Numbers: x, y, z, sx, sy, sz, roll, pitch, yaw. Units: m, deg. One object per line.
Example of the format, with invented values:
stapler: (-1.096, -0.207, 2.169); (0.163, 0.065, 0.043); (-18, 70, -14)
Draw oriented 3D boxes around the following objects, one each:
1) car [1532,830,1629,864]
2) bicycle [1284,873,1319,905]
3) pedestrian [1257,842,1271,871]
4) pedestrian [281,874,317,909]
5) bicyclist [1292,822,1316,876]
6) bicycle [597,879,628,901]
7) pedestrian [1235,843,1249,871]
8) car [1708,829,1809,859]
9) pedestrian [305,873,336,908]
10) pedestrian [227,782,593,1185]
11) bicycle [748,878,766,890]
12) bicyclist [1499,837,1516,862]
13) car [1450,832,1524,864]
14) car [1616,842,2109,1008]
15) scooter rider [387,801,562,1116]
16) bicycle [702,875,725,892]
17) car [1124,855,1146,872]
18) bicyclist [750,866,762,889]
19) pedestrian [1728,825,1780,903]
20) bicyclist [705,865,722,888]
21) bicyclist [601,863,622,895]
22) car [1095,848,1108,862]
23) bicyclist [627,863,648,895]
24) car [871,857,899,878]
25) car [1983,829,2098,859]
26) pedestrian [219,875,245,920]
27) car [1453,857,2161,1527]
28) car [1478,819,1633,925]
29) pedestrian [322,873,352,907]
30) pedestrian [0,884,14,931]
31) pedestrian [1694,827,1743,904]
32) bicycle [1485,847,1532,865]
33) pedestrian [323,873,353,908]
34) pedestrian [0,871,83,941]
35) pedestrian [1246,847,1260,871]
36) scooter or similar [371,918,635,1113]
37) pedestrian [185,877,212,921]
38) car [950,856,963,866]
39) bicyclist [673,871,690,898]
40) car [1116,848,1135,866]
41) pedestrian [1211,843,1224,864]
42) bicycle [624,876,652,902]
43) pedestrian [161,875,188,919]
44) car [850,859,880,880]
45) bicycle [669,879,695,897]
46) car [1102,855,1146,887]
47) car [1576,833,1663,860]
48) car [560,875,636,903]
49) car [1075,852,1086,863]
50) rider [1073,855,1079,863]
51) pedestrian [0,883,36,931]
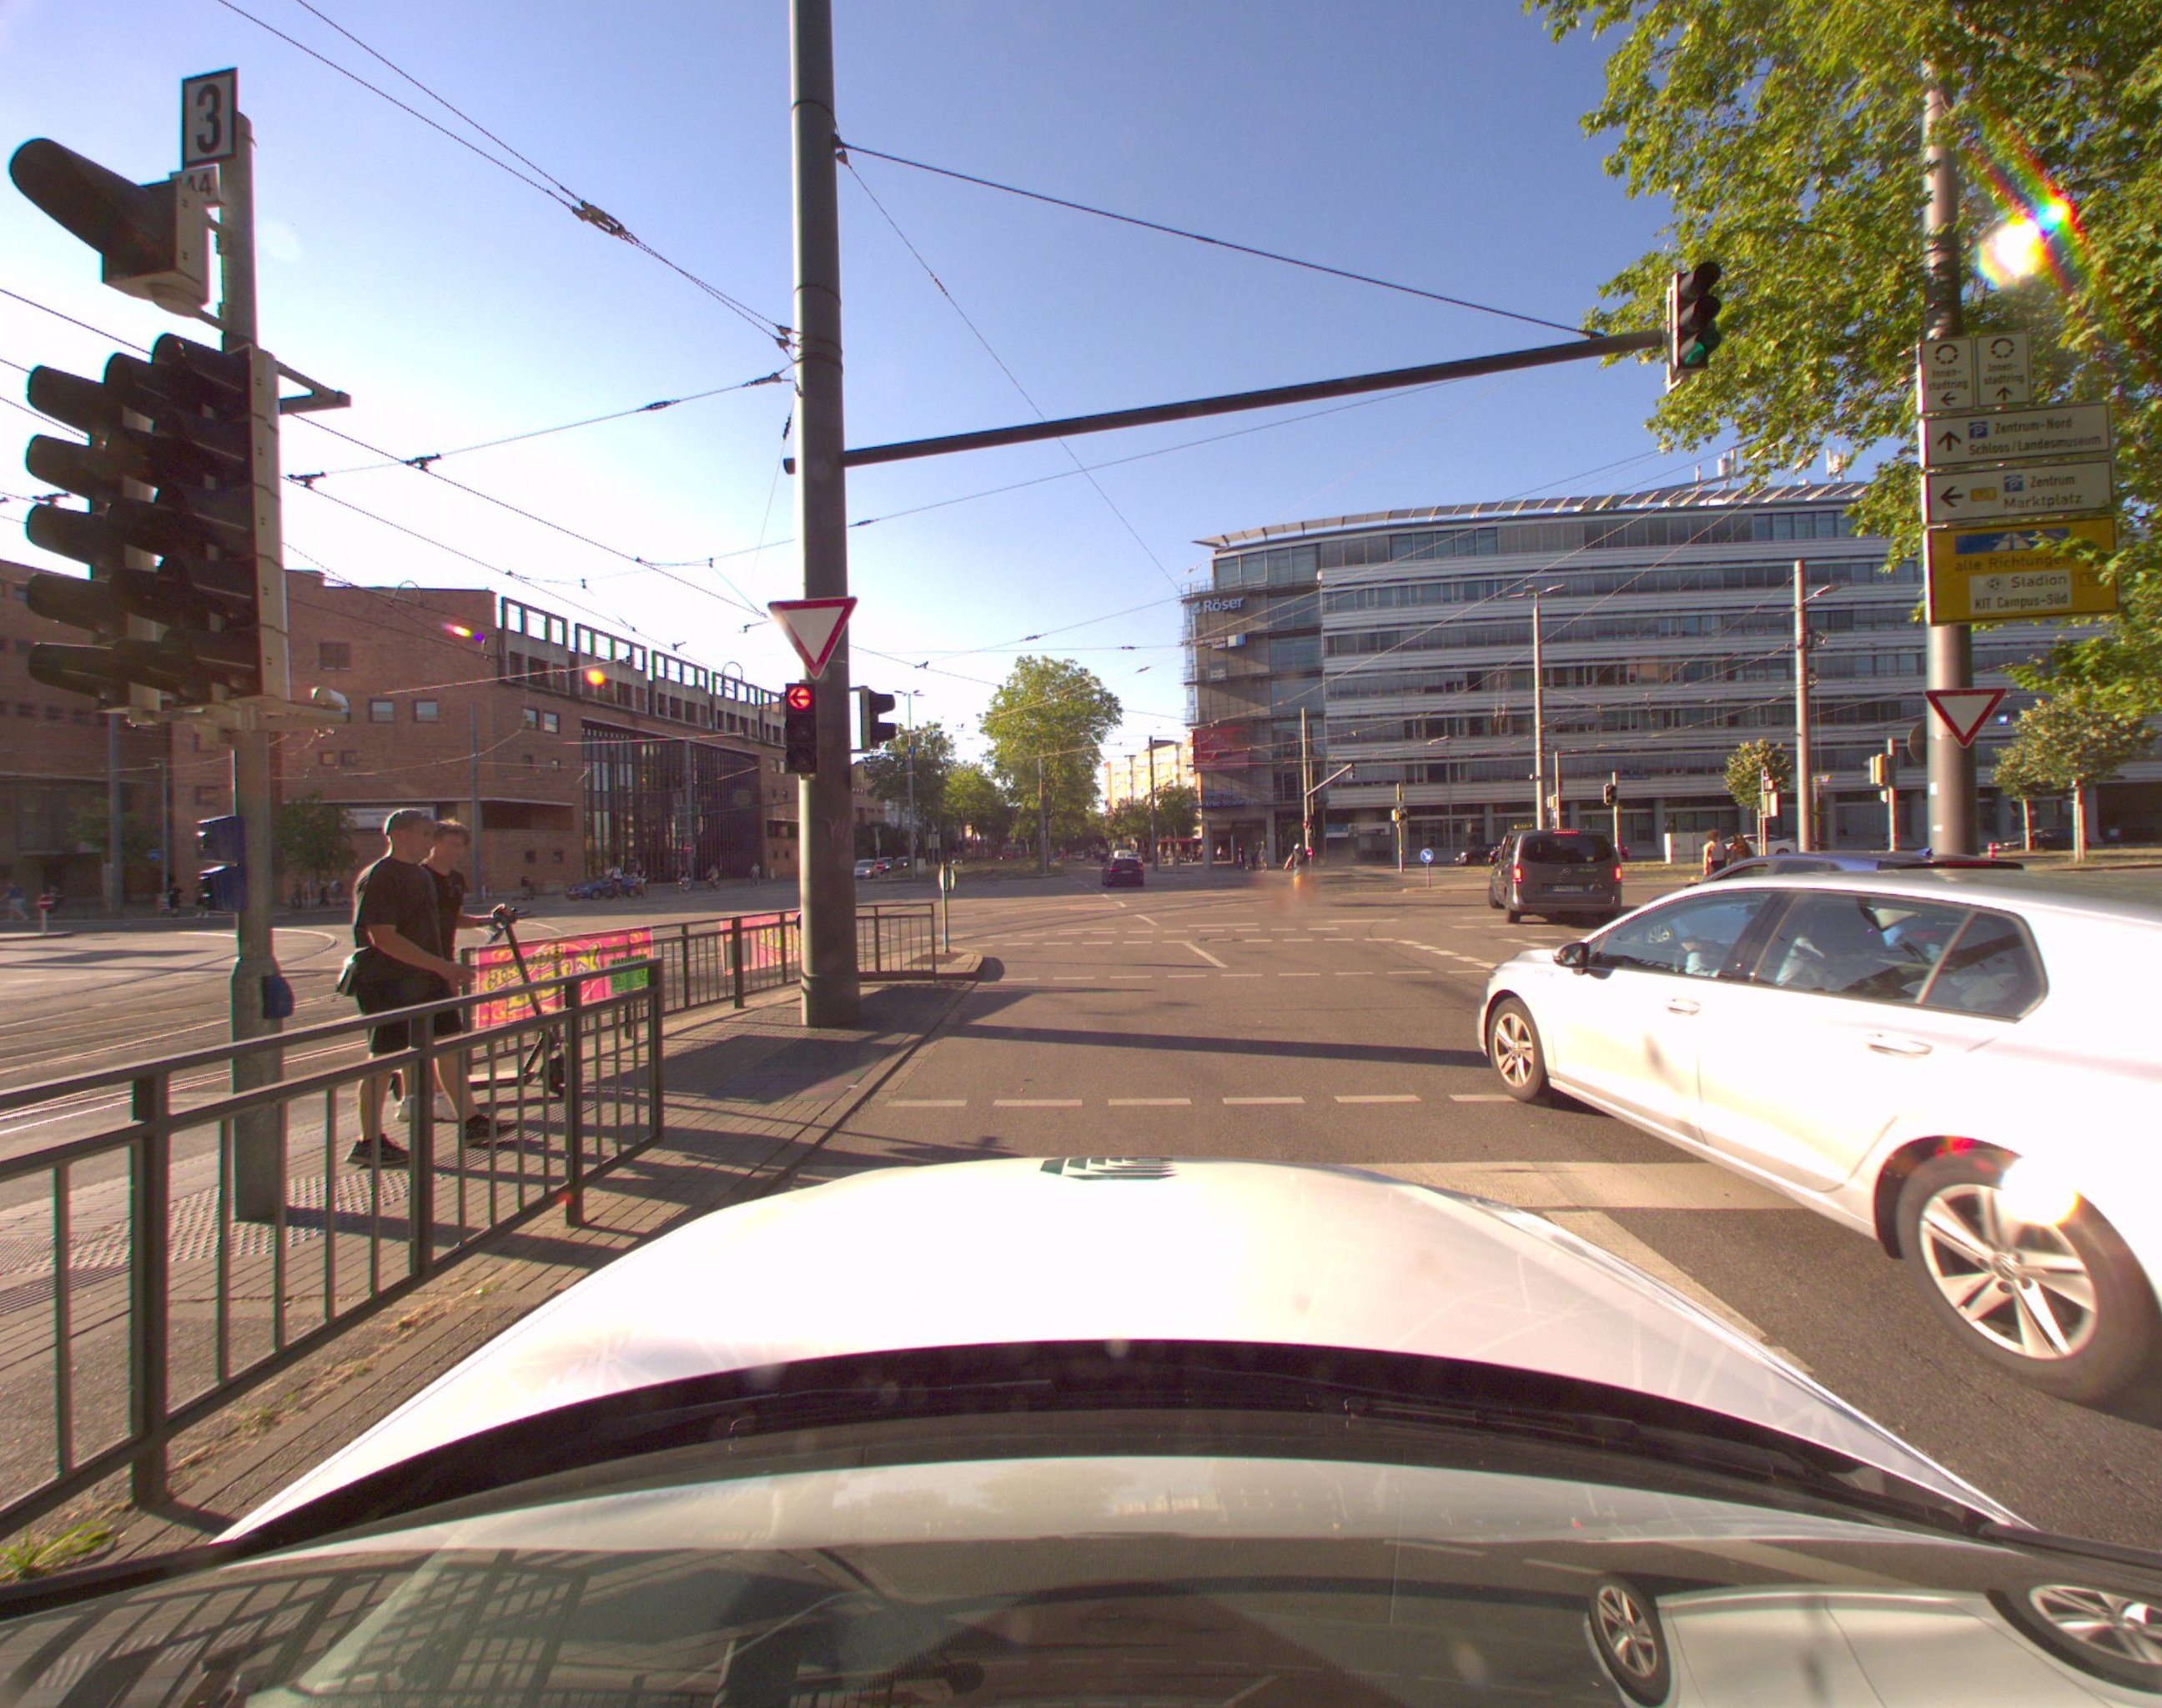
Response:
car: (27.932, -0.380, 45.634); (4.234, 1.723, 1.886); (-2, 0, 4)
bicycle: (5.920, 0.923, 21.923); (0.489, 0.788, 1.862); (-1, 0, 2)
pedestrian: (13.140, 0.192, 58.542); (0.866, 2.014, 0.794); (0, -1, 3)
pedestrian: (-46.187, 2.210, 48.089); (1.155, 2.013, 0.910); (-2, 0, -2)
bicyclist: (5.930, -0.134, 21.707); (0.485, 1.439, 0.616); (0, 0, 1)
bicycle: (-23.813, 1.822, 41.430); (0.652, 0.998, 1.896); (-2, 0, -8)
pedestrian: (11.867, 0.239, 60.110); (0.846, 2.014, 0.708); (0, -1, 1)
car: (37.602, -0.550, 45.259); (3.968, 1.596, 1.884); (0, -1, 5)
pedestrian: (-46.460, 2.215, 49.776); (1.003, 2.052, 0.850); (-2, 0, -1)
pedestrian: (-3.452, 0.624, 4.288); (1.161, 1.884, 0.856); (-2, 0, 6)
bicycle: (-24.016, 2.214, 60.307); (0.588, 0.771, 1.966); (-2, 0, -2)
bicyclist: (25.681, -0.270, 49.028); (0.660, 1.503, 0.614); (-2, 0, 7)
car: (27.189, -0.388, 54.600); (3.972, 2.014, 2.001); (0, -1, 2)
car: (8.347, 0.632, 9.367); (1.741, 1.459, 4.215); (-1, 0, 2)
scooter rider: (-3.834, 0.630, 5.190); (0.563, 1.853, 0.681); (-2, -2, 6)
bicycle: (-24.083, 1.943, 53.347); (0.650, 1.050, 2.010); (-1, 0, -3)
car: (5.469, 0.955, 82.821); (2.022, 1.596, 4.001); (0, -1, 2)
bicyclist: (-24.033, 1.724, 60.220); (0.585, 1.625, 0.514); (-2, 0, -3)
pedestrian: (15.573, 0.230, 18.861); (0.677, 1.759, 0.746); (-2, 0, 22)
bicyclist: (-24.080, 1.438, 53.336); (0.652, 1.474, 1.031); (-1, -1, -3)
bicyclist: (-23.799, 1.268, 41.301); (0.660, 1.574, 0.756); (-2, 0, -8)
car: (3.247, 0.156, 126.825); (1.986, 2.014, 4.001); (0, -1, 2)
bicyclist: (-22.824, 1.262, 41.906); (0.683, 1.560, 0.755); (-2, 2, -13)
car: (-18.219, 1.227, 75.691); (1.819, 1.790, 3.994); (-2, 0, -4)
car: (54.434, -0.552, 46.253); (4.097, 1.596, 1.884); (0, -1, 5)
pedestrian: (-39.331, 1.994, 37.733); (0.615, 2.013, 0.726); (-2, 0, -29)
car: (3.347, 0.747, 3.645); (1.740, 1.418, 4.004); (-1, 0, 4)
car: (9.773, 0.313, 17.207); (1.984, 1.896, 4.907); (-1, 0, 20)
pedestrian: (-46.521, 2.224, 50.939); (1.003, 2.052, 0.850); (-2, 0, -1)
pedestrian: (-46.147, 2.286, 34.428); (0.782, 1.983, 0.927); (-2, 0, 0)
pedestrian: (14.945, 0.261, 19.110); (0.671, 1.759, 0.746); (-2, 0, 22)
bicycle: (25.742, 0.129, 49.037); (2.397, 1.022, 0.638); (-2, 0, 6)
pedestrian: (-45.490, 2.217, 49.871); (1.003, 2.052, 0.850); (-2, 0, -1)
pedestrian: (-31.018, 1.525, 24.277); (1.029, 2.014, 1.208); (0, -1, 1)
pedestrian: (12.735, 0.361, 60.171); (0.866, 1.707, 0.794); (0, -1, 1)
scooter or similar: (-3.624, 0.994, 5.167); (1.196, 1.081, 0.649); (-2, 0, 5)
pedestrian: (-41.711, 2.124, 38.511); (0.615, 2.013, 0.726); (-2, 0, -28)
car: (-20.953, 1.186, 137.210); (1.673, 1.607, 3.994); (0, -1, -4)
bicyclist: (-24.018, 1.809, 48.978); (0.660, 1.569, 0.757); (-2, 0, -6)
car: (4.919, 0.340, 89.835); (1.986, 2.014, 4.001); (0, -1, 2)
pedestrian: (14.190, -0.050, 84.948); (1.305, 2.190, 1.173); (0, -1, 8)
bicycle: (-22.821, 1.791, 41.959); (0.686, 1.142, 2.102); (-2, 2, -13)
pedestrian: (-42.398, 1.989, 38.097); (0.615, 2.013, 0.726); (-2, 0, -28)
car: (-17.992, 1.251, 67.917); (1.618, 1.577, 3.994); (-2, 0, -4)
bicycle: (-24.025, 2.056, 49.071); (0.692, 0.998, 1.898); (-2, 0, -5)
car: (2.029, 0.791, 39.711); (1.759, 1.404, 4.293); (-1, 0, -2)
car: (32.086, -0.454, 48.641); (3.966, 1.552, 1.800); (0, -1, 6)
car: (-27.704, 1.969, 46.855); (1.570, 1.376, 3.729); (-2, 0, 13)
car: (0.001, 0.724, 163.551); (1.985, 2.014, 4.002); (0, -4, 3)
rider: (-1.295, 1.211, 208.605); (1.268, 2.014, 0.954); (0, -1, -5)
pedestrian: (-46.185, 2.293, 35.278); (0.782, 1.983, 0.751); (-2, 0, -1)
